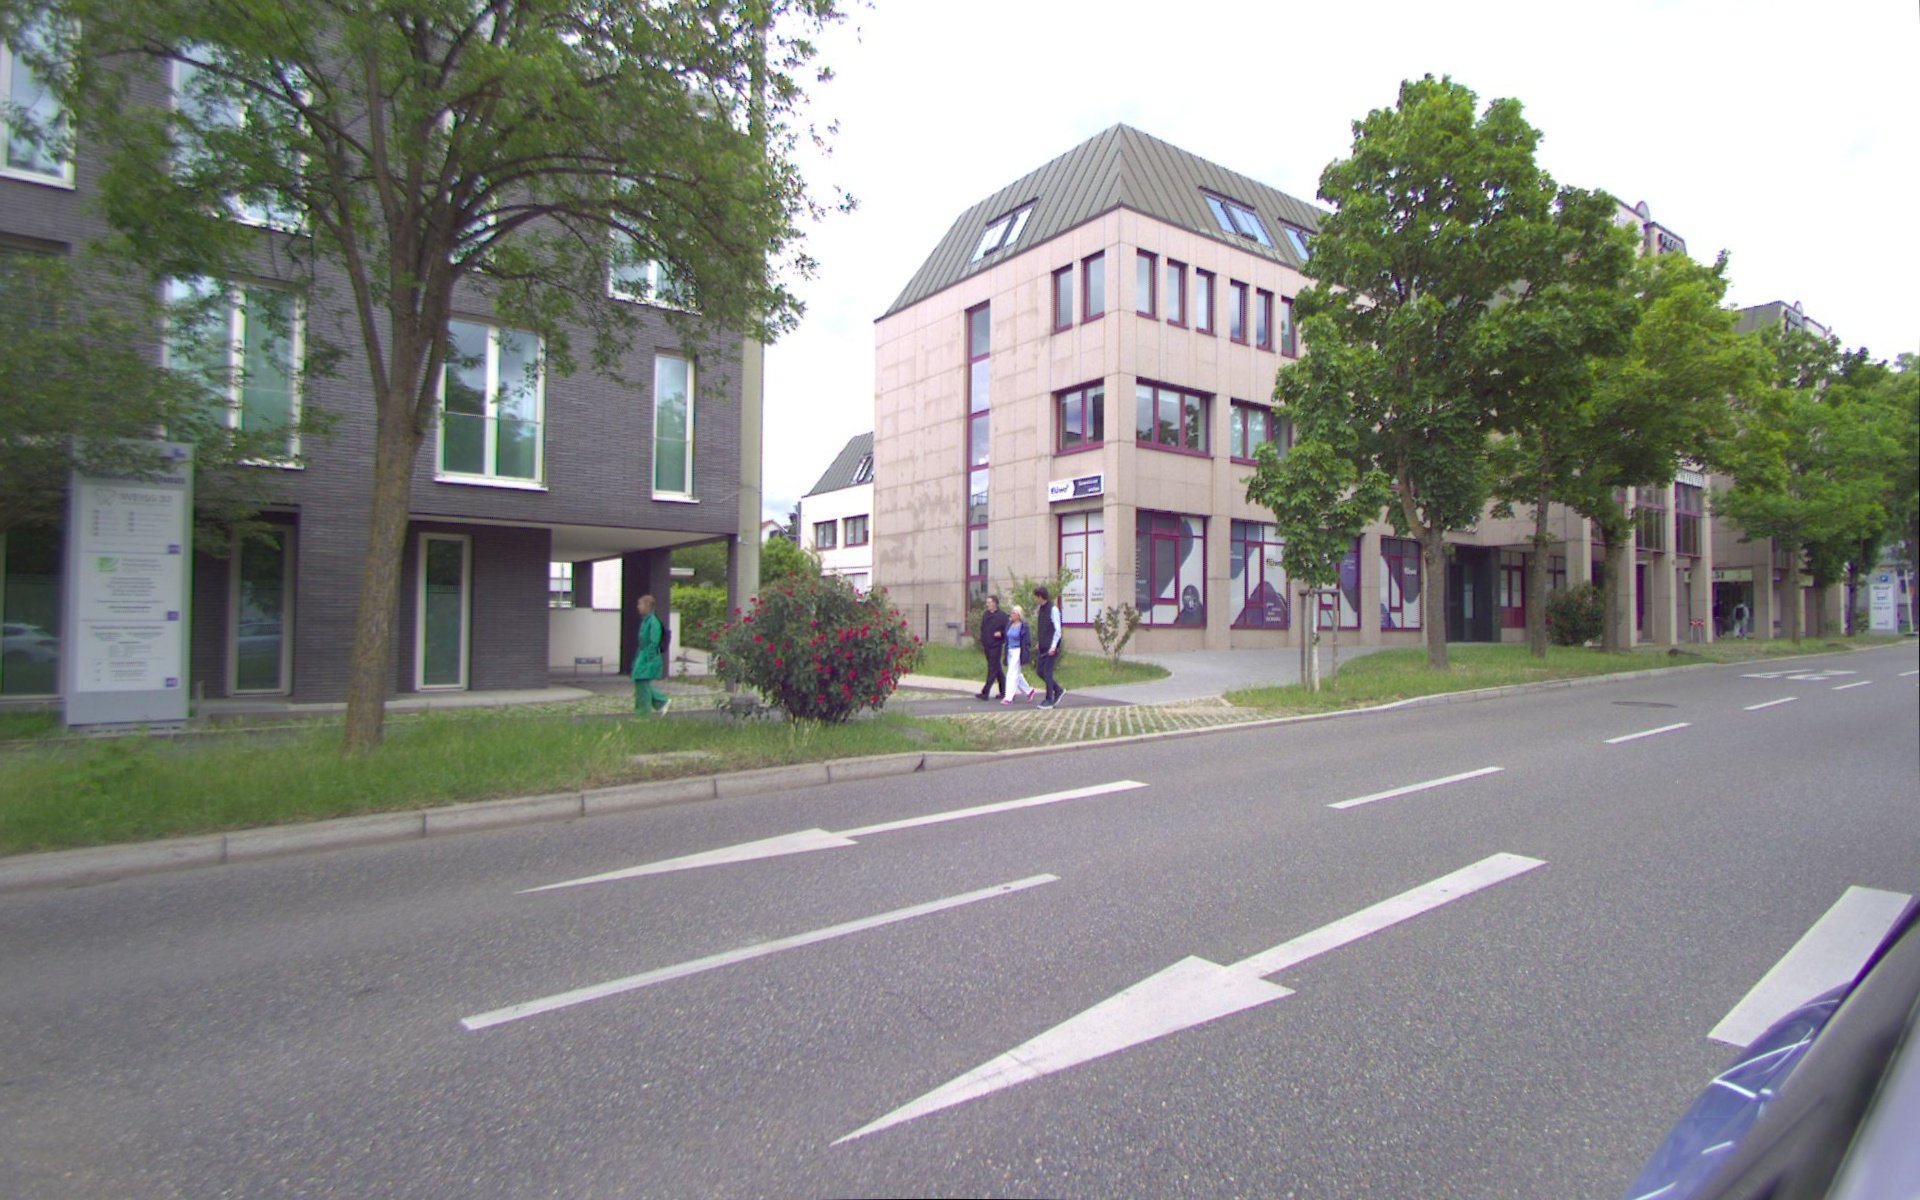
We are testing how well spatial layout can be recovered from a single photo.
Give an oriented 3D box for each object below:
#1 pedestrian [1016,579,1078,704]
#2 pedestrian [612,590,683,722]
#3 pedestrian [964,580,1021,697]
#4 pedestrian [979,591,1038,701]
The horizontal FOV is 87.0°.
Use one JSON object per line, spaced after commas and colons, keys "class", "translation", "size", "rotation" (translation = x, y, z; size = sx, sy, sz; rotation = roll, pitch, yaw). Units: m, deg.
{"class": "pedestrian", "translation": [1.310, 0.608, 15.285], "size": [0.665, 1.828, 0.642], "rotation": [1, -1, -40]}
{"class": "pedestrian", "translation": [-3.834, 0.664, 12.406], "size": [0.665, 1.537, 0.496], "rotation": [0, 2, -41]}
{"class": "pedestrian", "translation": [0.521, 0.602, 16.338], "size": [0.665, 1.828, 0.642], "rotation": [1, -1, -40]}
{"class": "pedestrian", "translation": [0.753, 0.699, 15.770], "size": [0.665, 1.668, 0.642], "rotation": [1, -1, -40]}
